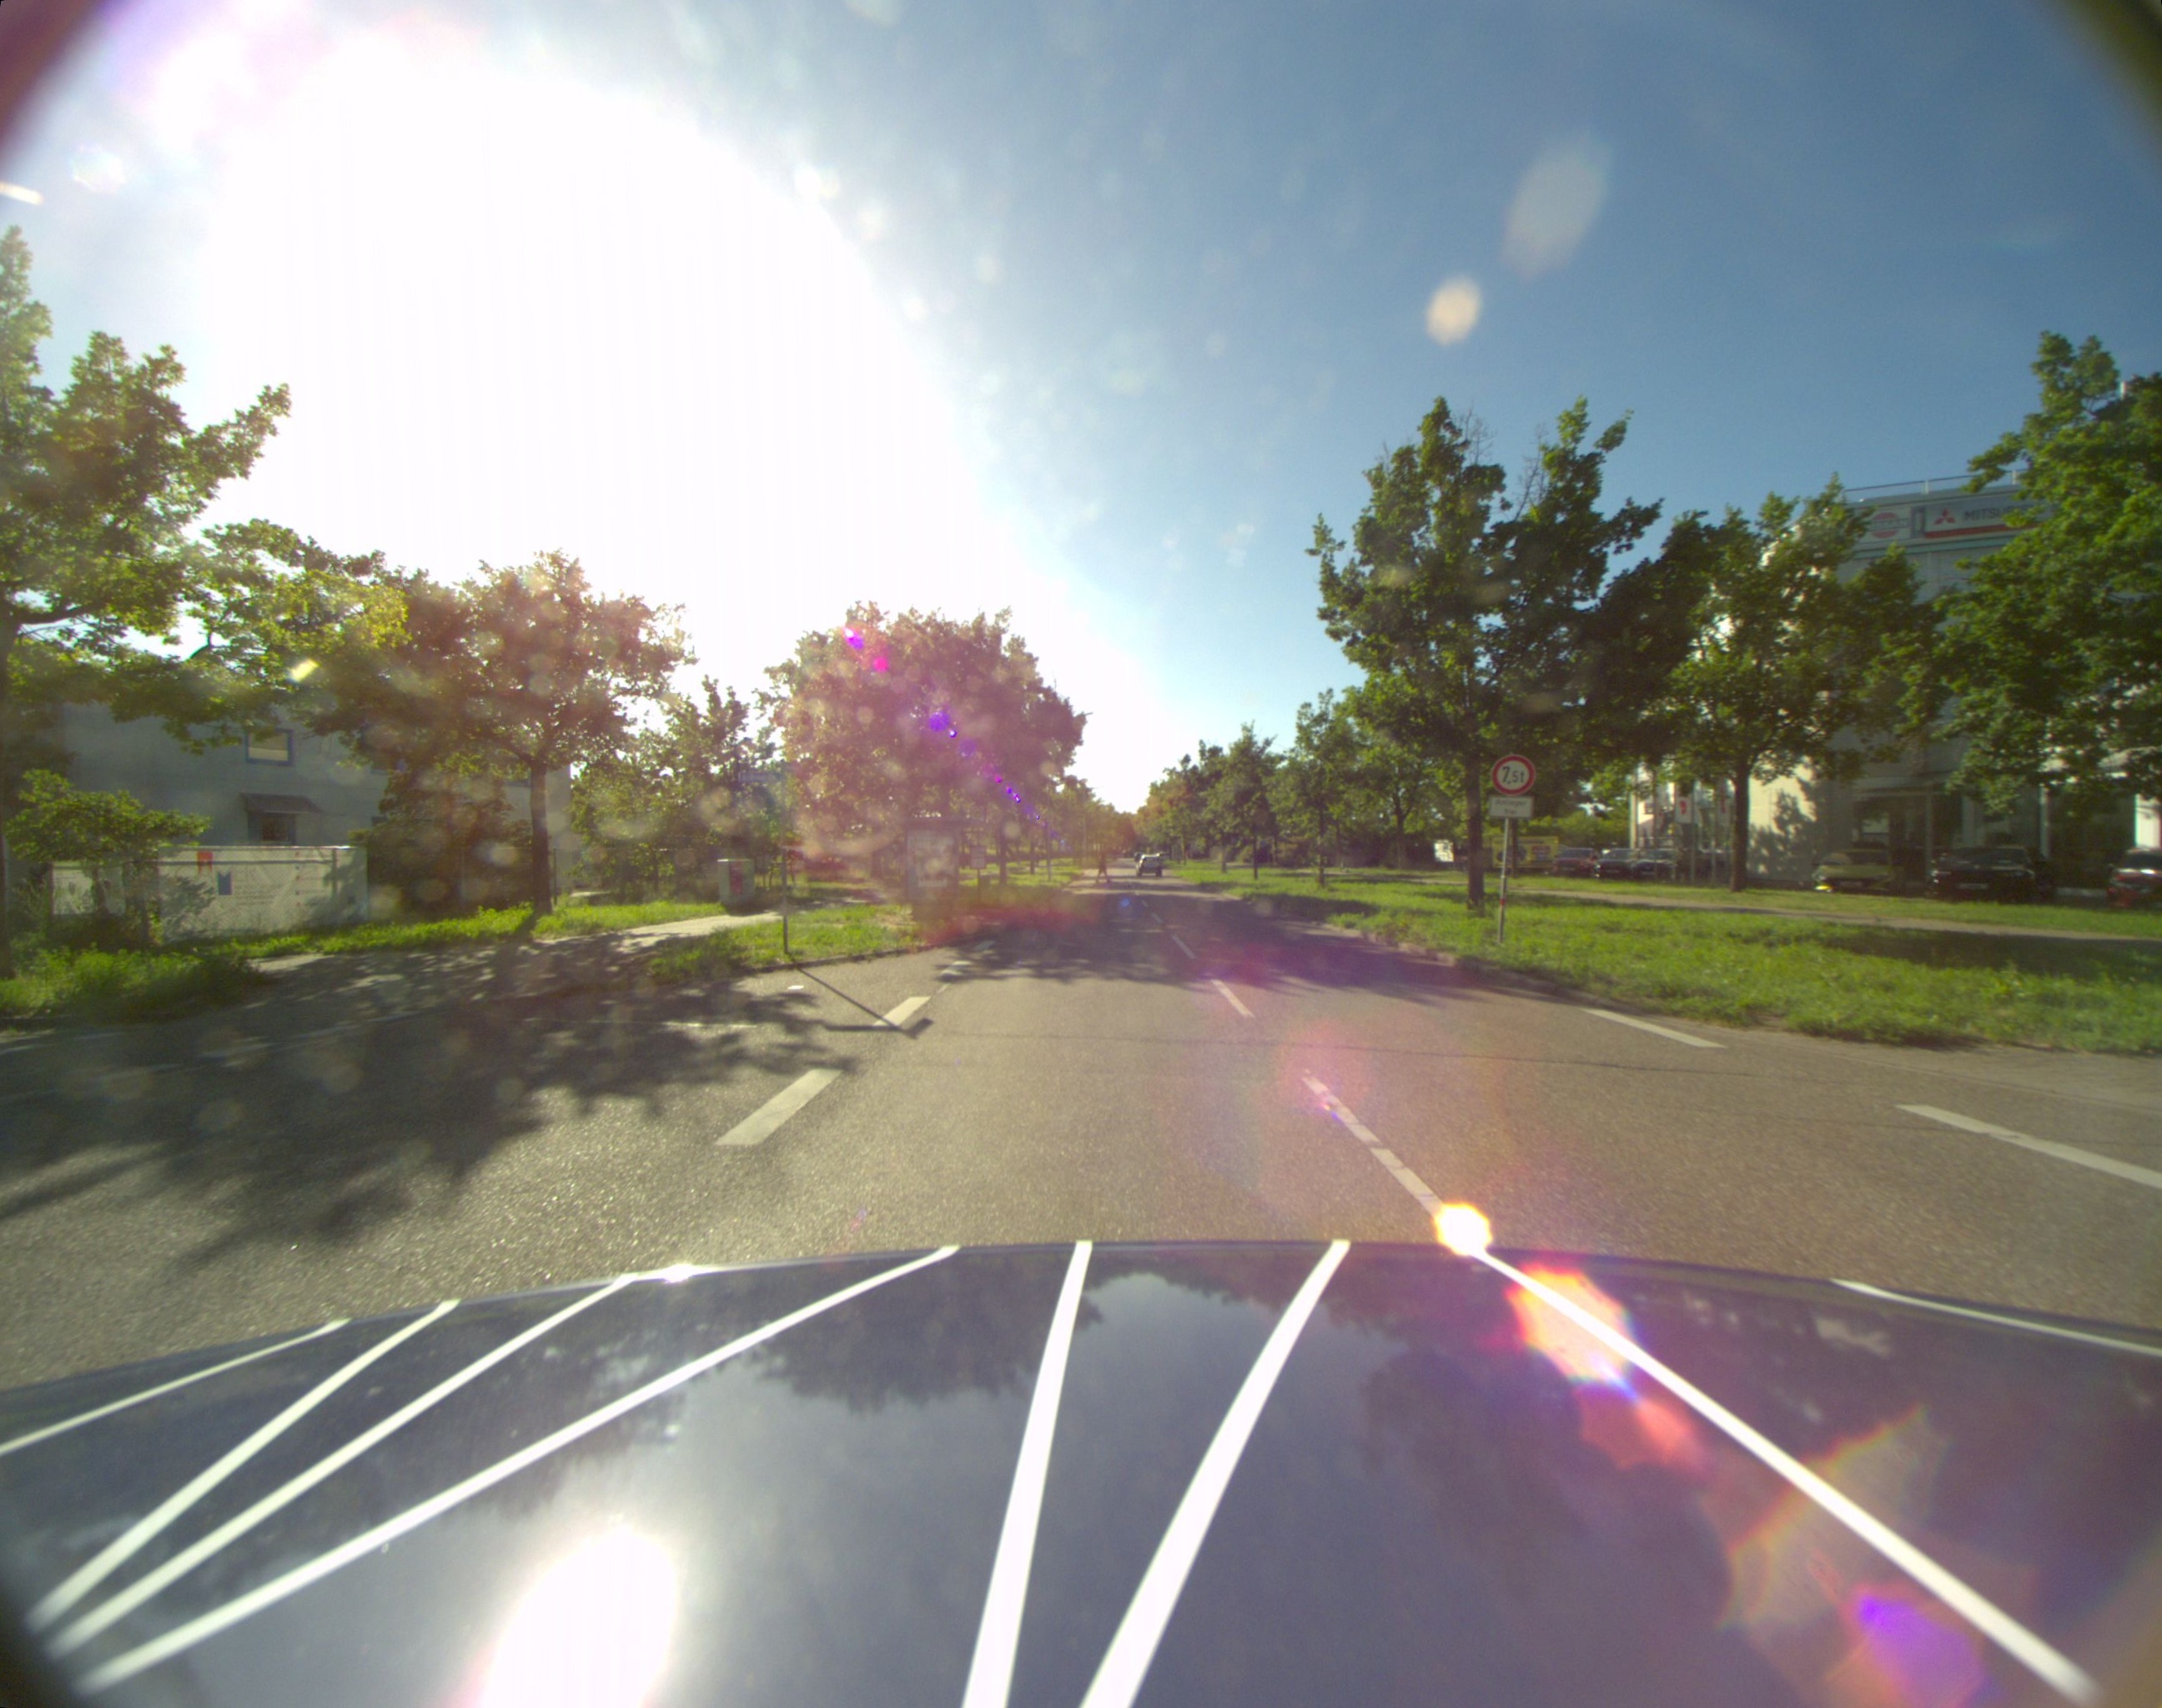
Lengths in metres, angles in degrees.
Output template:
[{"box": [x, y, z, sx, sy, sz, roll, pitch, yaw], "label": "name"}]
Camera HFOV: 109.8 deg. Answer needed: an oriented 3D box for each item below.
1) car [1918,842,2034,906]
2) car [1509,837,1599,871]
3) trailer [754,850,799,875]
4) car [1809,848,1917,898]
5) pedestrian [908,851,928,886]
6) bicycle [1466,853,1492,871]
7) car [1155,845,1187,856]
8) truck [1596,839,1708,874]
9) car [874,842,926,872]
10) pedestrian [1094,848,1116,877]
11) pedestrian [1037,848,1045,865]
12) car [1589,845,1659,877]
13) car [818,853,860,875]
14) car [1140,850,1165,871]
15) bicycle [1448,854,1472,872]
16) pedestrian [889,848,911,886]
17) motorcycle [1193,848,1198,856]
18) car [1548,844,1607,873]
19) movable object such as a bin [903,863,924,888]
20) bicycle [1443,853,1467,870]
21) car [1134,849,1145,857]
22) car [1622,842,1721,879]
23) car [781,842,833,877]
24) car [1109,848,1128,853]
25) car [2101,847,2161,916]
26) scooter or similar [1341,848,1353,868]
[{"box": [24.138, 0.470, 20.476, 4.178, 1.529, 1.891, -1, 1, -39], "label": "car"}, {"box": [27.790, 0.013, 44.763, 4.024, 1.773, 2.027, -2, 0, 10], "label": "car"}, {"box": [-29.489, 0.795, 73.771, 2.192, 2.294, 3.793, 0, 1, 15], "label": "trailer"}, {"box": [24.522, 0.545, 23.790, 3.961, 1.393, 1.994, -1, 1, -39], "label": "car"}, {"box": [-7.654, 0.666, 35.689, 0.727, 1.594, 0.867, -1, 1, 2], "label": "pedestrian"}, {"box": [24.594, 0.491, 46.990, 0.640, 1.081, 1.891, -1, 0, 2], "label": "bicycle"}, {"box": [13.618, -0.540, 115.128, 4.638, 1.549, 2.191, -2, 0, 1], "label": "car"}, {"box": [32.469, 0.160, 43.360, 4.681, 1.773, 2.027, -2, 0, 13], "label": "truck"}, {"box": [-16.835, 0.306, 71.047, 2.087, 2.550, 5.980, -2, -3, 14], "label": "car"}, {"box": [1.377, 0.496, 43.674, 1.021, 1.642, 1.100, 0, 1, 12], "label": "pedestrian"}, {"box": [-4.418, 0.241, 83.528, 0.727, 1.802, 0.867, -1, 1, 2], "label": "pedestrian"}, {"box": [25.893, 0.317, 36.200, 4.008, 1.440, 1.796, -1, 1, -40], "label": "car"}, {"box": [-19.064, 0.788, 59.947, 2.010, 1.654, 3.597, -1, 0, 3], "label": "car"}, {"box": [5.111, 0.459, 54.816, 1.748, 1.456, 4.428, 0, 0, 5], "label": "car"}, {"box": [23.611, 0.525, 47.340, 0.640, 1.081, 1.891, -1, 0, 2], "label": "bicycle"}, {"box": [-8.414, 0.589, 35.361, 0.727, 1.745, 0.867, -1, 1, 2], "label": "pedestrian"}, {"box": [20.368, -0.413, 135.390, 0.739, 1.424, 1.992, -4, 0, 5], "label": "motorcycle"}, {"box": [26.080, 0.206, 39.838, 4.008, 1.440, 1.796, -1, 1, -45], "label": "car"}, {"box": [-7.688, 0.980, 34.833, 0.727, 1.075, 0.867, 1, 1, 2], "label": "movable object such as a bin"}, {"box": [23.983, 0.485, 48.731, 0.640, 1.081, 1.891, -1, 0, 2], "label": "bicycle"}, {"box": [10.827, -0.150, 141.006, 1.809, 1.528, 4.495, 1, 0, 0], "label": "car"}, {"box": [25.621, 0.291, 32.949, 4.005, 1.502, 1.797, -1, -1, -27], "label": "car"}, {"box": [-21.701, 0.422, 60.343, 2.165, 2.628, 4.851, -1, 0, 3], "label": "car"}, {"box": [9.560, -0.894, 192.813, 4.509, 1.471, 1.942, 0, 1, 7], "label": "car"}, {"box": [25.506, 0.587, 17.733, 4.178, 1.482, 1.995, -1, 1, -36], "label": "car"}, {"box": [17.342, 0.238, 49.548, 0.396, 1.272, 1.441, -1, 1, 3], "label": "scooter or similar"}]
